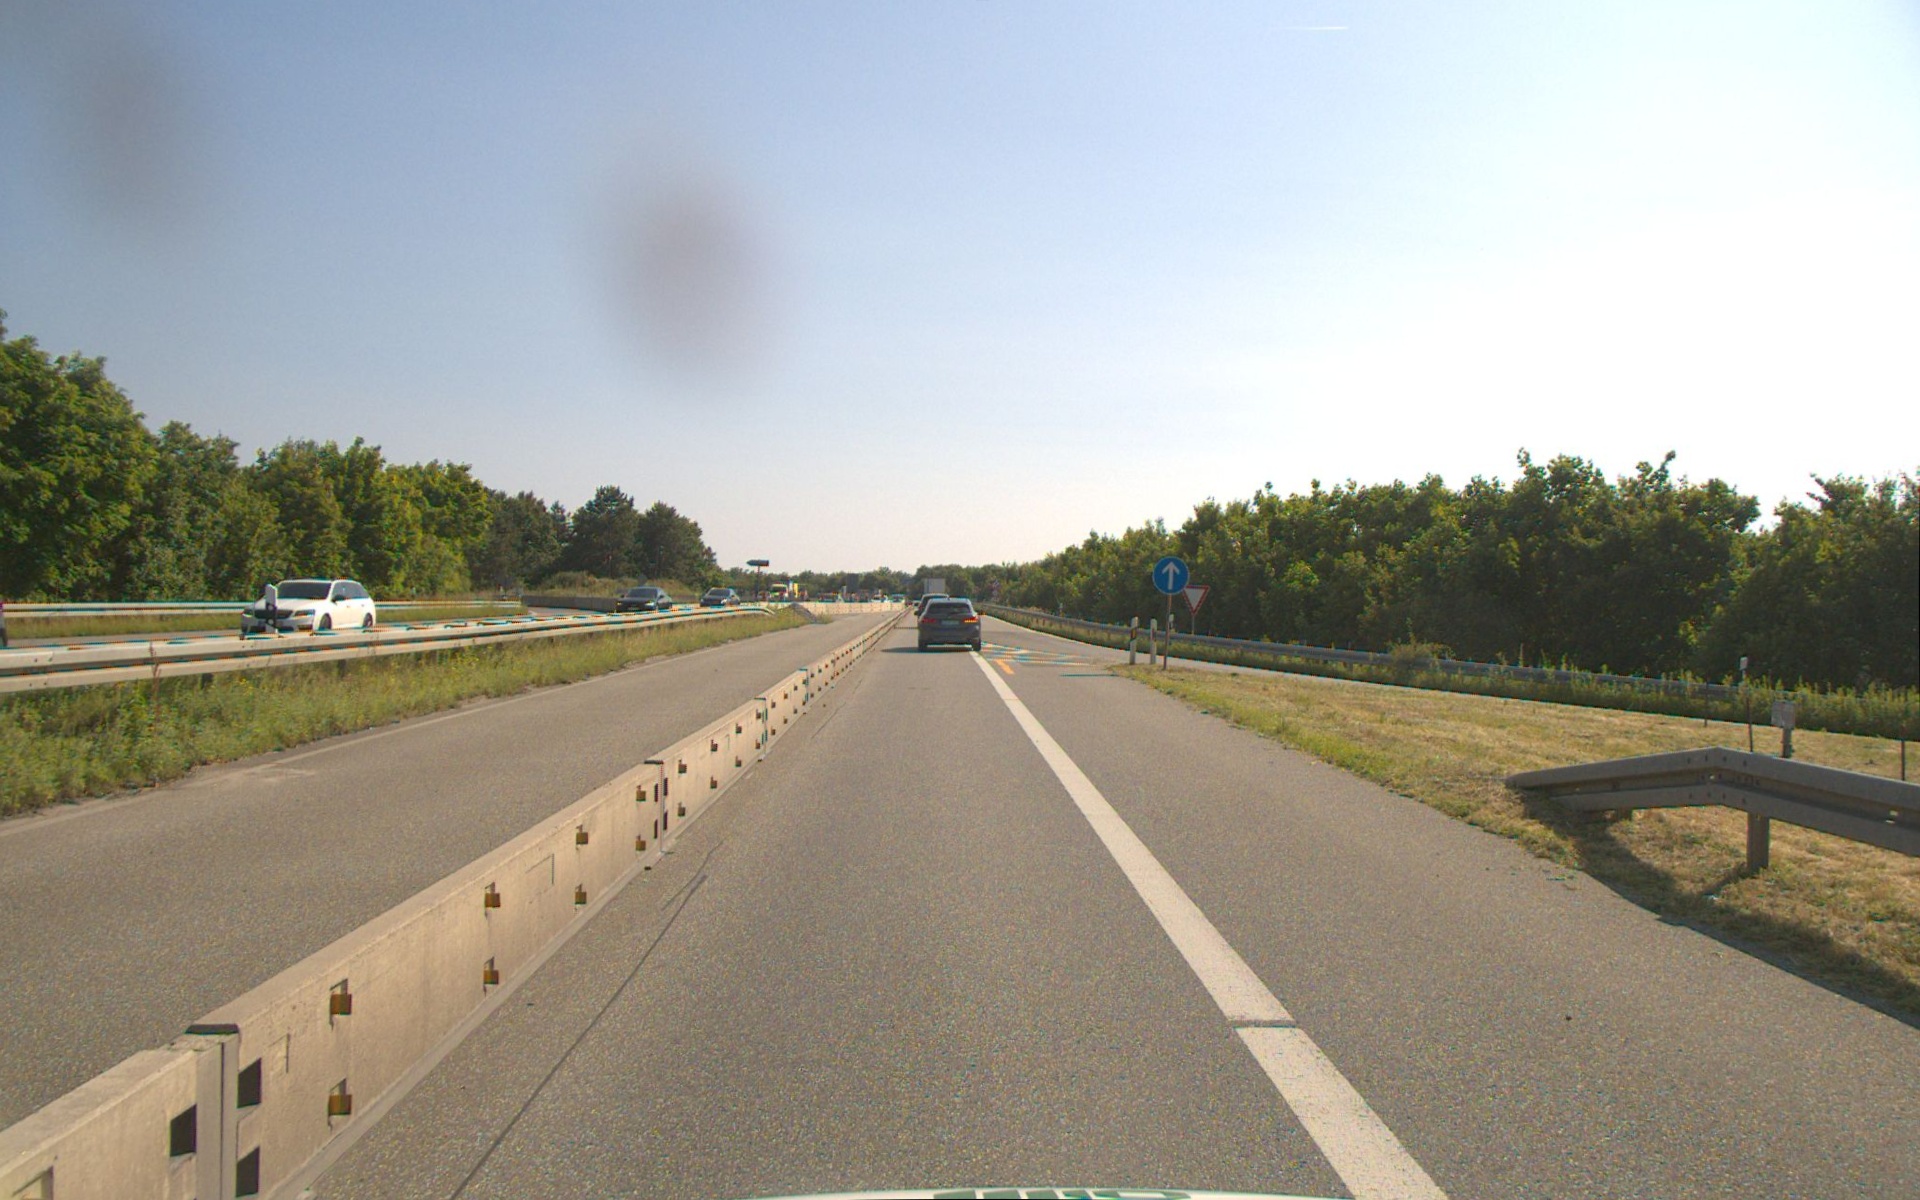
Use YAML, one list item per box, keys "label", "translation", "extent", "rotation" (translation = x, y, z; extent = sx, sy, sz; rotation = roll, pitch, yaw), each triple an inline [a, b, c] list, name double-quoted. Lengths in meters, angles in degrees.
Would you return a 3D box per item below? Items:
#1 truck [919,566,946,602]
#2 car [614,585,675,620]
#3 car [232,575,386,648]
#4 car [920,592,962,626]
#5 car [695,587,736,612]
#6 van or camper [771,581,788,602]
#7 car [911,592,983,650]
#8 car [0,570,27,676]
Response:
- label: "truck"
  translation: [-4.115, -2.342, 241.751]
  extent: [3.685, 4.997, 14.131]
  rotation: [2, 0, -2]
- label: "car"
  translation: [-14.611, 0.100, 76.808]
  extent: [1.778, 1.514, 5.024]
  rotation: [1, 0, 1]
- label: "car"
  translation: [-14.873, 0.238, 38.048]
  extent: [1.724, 1.496, 4.793]
  rotation: [2, 0, -2]
- label: "car"
  translation: [-0.901, 0.400, 78.958]
  extent: [1.953, 1.594, 4.000]
  rotation: [0, 0, -1]
- label: "car"
  translation: [-14.719, -0.028, 99.685]
  extent: [1.760, 1.459, 4.592]
  rotation: [1, 0, 0]
- label: "van or camper"
  translation: [-21.353, -0.978, 195.544]
  extent: [1.956, 2.419, 6.192]
  rotation: [-1, 0, -7]
- label: "car"
  translation: [-0.404, 0.574, 46.986]
  extent: [1.882, 1.520, 3.998]
  rotation: [2, 0, -2]
- label: "car"
  translation: [-14.498, 0.309, 22.154]
  extent: [1.703, 1.520, 4.108]
  rotation: [2, 0, -1]
